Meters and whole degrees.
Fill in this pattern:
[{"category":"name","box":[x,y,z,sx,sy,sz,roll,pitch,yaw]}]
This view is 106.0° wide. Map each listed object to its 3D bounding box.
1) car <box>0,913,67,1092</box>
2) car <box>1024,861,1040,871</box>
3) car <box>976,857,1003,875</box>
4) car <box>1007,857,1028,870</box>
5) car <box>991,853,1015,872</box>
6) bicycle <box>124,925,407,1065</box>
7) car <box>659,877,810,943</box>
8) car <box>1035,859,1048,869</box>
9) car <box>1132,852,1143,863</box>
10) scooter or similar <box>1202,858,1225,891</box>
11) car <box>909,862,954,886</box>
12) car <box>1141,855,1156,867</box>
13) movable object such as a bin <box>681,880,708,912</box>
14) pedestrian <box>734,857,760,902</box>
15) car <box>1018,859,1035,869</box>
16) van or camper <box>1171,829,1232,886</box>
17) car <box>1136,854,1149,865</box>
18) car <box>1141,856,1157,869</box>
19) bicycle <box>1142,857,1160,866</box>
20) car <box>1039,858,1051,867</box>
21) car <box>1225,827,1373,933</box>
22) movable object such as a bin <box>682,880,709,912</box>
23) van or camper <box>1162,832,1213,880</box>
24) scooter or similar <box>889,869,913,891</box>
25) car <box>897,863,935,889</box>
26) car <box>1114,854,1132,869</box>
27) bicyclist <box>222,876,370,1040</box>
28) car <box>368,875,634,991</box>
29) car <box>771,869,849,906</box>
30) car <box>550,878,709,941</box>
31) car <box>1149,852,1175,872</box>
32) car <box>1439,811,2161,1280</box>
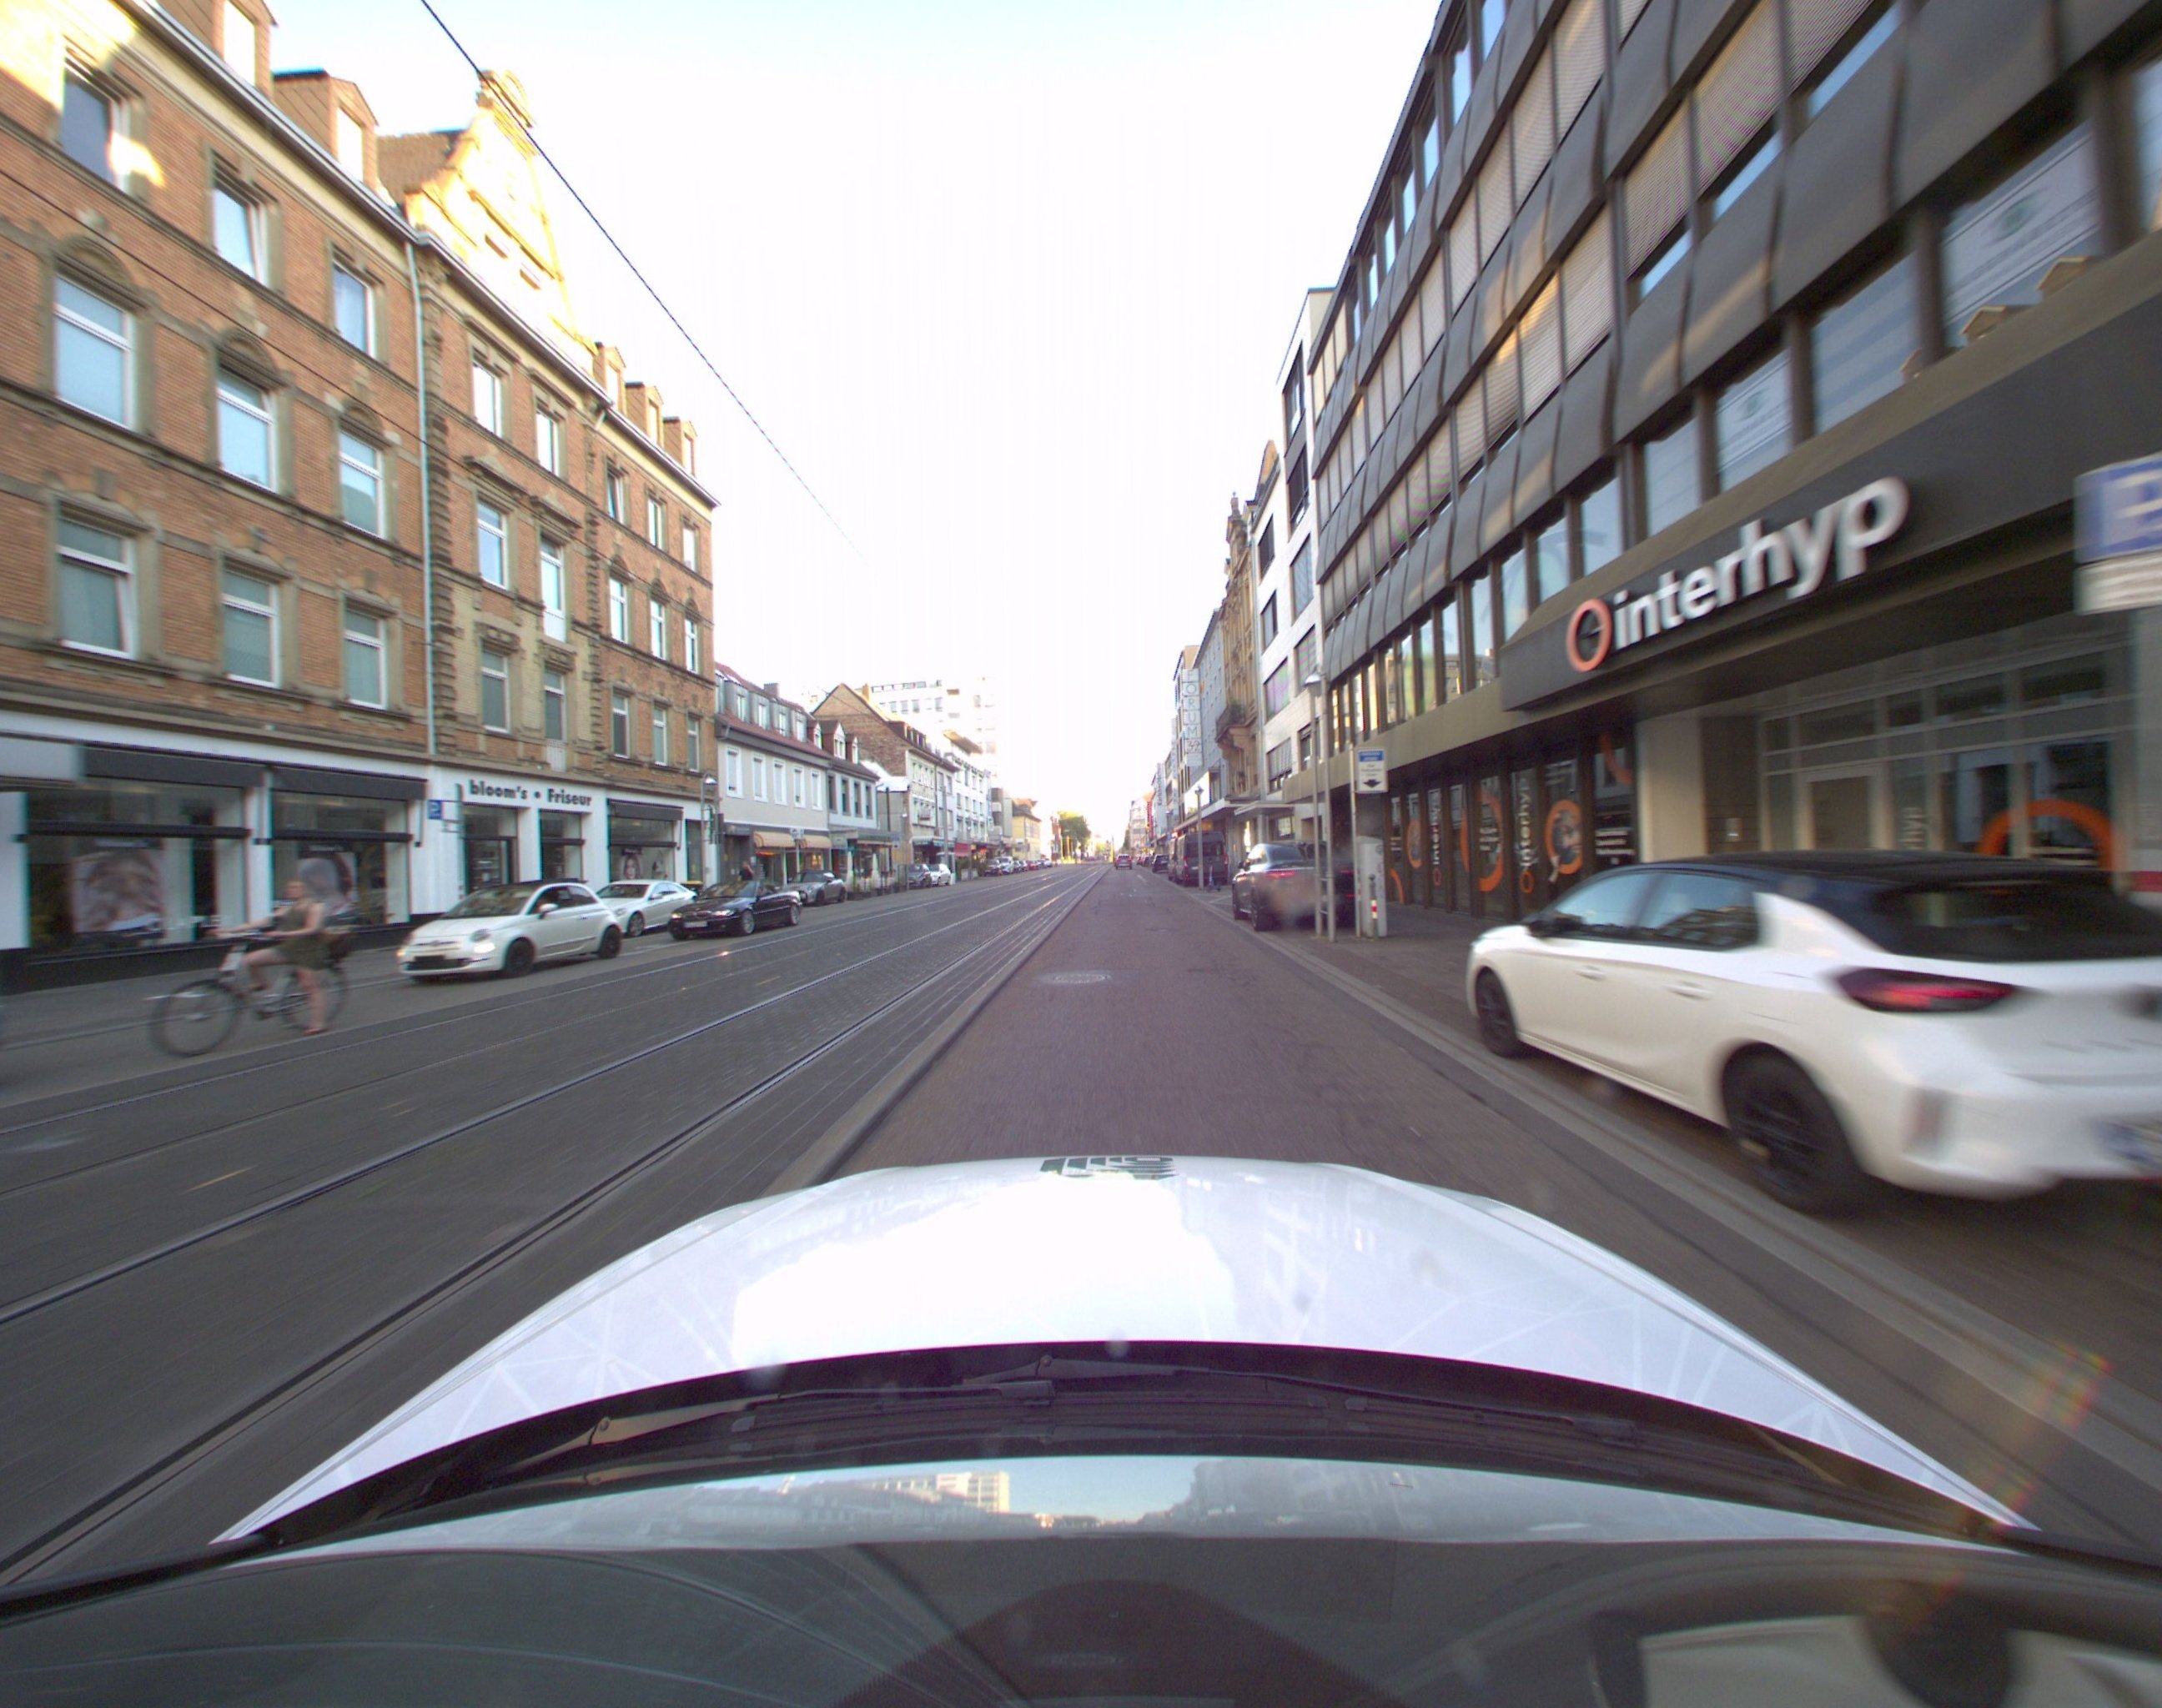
[{"category":"car","box":[-9.544,1.247,4.841,1.751,1.386,4.065,-4,0,3]},{"category":"car","box":[-6.746,1.652,112.732,1.784,1.339,3.893,0,0,2]},{"category":"car","box":[-9.072,1.139,81.120,1.909,1.763,4.433,0,0,3]},{"category":"car","box":[-7.486,1.137,96.766,1.910,1.521,4.632,0,0,2]},{"category":"car","box":[-8.452,0.909,88.851,1.909,1.936,4.846,0,0,3]},{"category":"bicycle","box":[-8.053,1.334,8.220,0.690,1.034,2.082,-2,0,2]},{"category":"car","box":[-8.399,1.305,20.210,1.660,1.228,4.276,-4,0,2]},{"category":"car","box":[-6.378,1.592,131.460,1.784,1.449,3.893,0,0,2]},{"category":"car","box":[11.589,0.730,167.304,1.935,2.145,4.549,-4,0,4]},{"category":"scooter or similar","box":[5.253,0.819,32.349,0.350,1.224,1.123,-5,-1,35]},{"category":"car","box":[-9.907,1.294,54.224,1.841,1.504,4.846,0,0,3]},{"category":"car","box":[9.337,0.917,113.013,1.935,1.545,4.549,-4,0,4]},{"category":"movable object such as a bin","box":[-14.533,1.579,30.644,0.587,1.131,0.729,-3,0,3]},{"category":"pedestrian","box":[-13.423,1.009,32.755,0.645,1.772,0.856,-1,0,3]},{"category":"car","box":[-6.898,1.258,103.046,1.784,1.339,3.893,0,0,2]},{"category":"van or camper","box":[5.820,0.158,40.051,2.180,2.426,6.136,-4,0,3]},{"category":"car","box":[9.675,0.856,128.827,1.935,1.703,4.549,-4,0,4]},{"category":"car","box":[8.895,1.100,106.855,1.935,1.545,4.549,-4,0,4]},{"category":"bicycle","box":[8.886,0.954,103.602,2.112,1.090,0.591,-2,0,0]},{"category":"car","box":[-6.044,1.361,137.503,1.784,1.449,3.893,0,0,2]},{"category":"car","box":[4.302,0.469,16.864,1.975,1.734,4.675,-4,0,4]},{"category":"movable object such as a bin","box":[-14.149,1.543,29.888,0.587,1.131,0.729,-3,0,3]},{"category":"van or camper","box":[5.977,0.127,46.342,2.181,2.426,5.519,-4,0,1]},{"category":"scooter or similar","box":[-10.291,1.478,46.566,1.308,1.205,0.294,0,-1,3]},{"category":"car","box":[-10.041,1.302,49.703,1.585,1.504,2.814,0,0,2]},{"category":"car","box":[4.807,0.830,92.868,1.935,1.545,4.549,-2,0,4]},{"category":"bicyclist","box":[-8.054,1.030,8.392,0.691,1.565,0.799,-2,-1,1]},{"category":"car","box":[-9.534,1.206,13.811,1.660,1.505,3.683,-4,0,2]},{"category":"car","box":[-11.178,1.361,33.856,1.726,1.389,3.868,0,0,3]},{"category":"car","box":[-11.784,1.392,21.626,1.753,1.389,4.274,0,0,1]},{"category":"car","box":[6.843,0.646,69.208,1.935,1.545,4.549,-4,0,4]},{"category":"car","box":[3.759,0.632,4.661,1.759,1.485,3.875,-4,0,2]}]
